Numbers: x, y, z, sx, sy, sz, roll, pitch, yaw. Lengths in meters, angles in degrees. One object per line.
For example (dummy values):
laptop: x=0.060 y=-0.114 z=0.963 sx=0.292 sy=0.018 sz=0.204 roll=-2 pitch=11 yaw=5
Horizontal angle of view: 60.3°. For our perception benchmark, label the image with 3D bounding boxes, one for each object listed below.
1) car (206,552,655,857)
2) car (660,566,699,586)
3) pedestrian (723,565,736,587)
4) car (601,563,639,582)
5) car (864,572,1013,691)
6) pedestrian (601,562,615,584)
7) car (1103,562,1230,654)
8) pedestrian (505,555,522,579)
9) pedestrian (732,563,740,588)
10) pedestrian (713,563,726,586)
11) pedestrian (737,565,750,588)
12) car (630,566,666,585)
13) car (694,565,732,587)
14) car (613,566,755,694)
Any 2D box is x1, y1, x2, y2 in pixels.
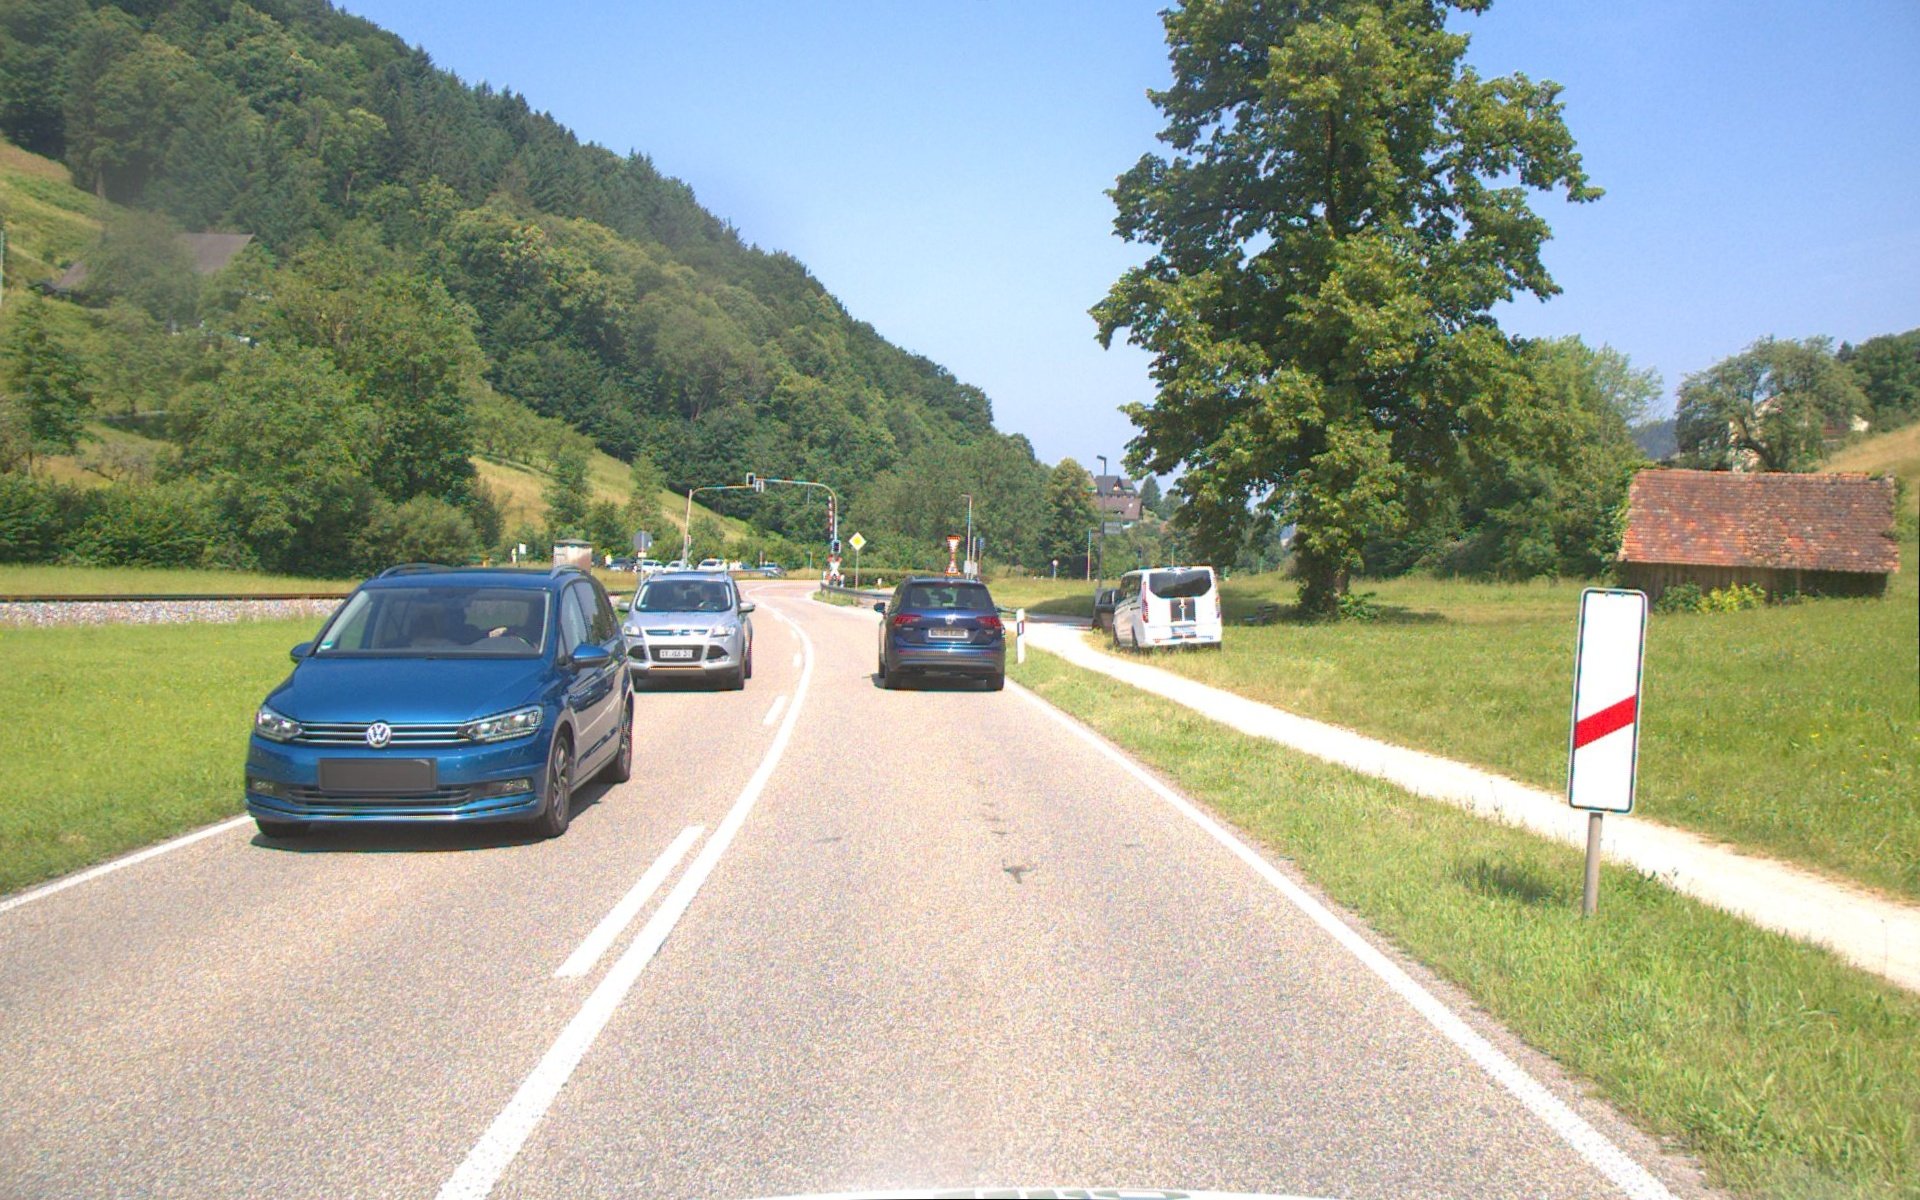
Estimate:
car: x=-3.310 y=0.553 z=11.317 sx=1.828 sy=1.652 sz=4.508 roll=1 pitch=1 yaw=-3
car: x=-23.989 y=-2.038 z=141.586 sx=1.951 sy=1.670 sz=4.905 roll=1 pitch=1 yaw=6
pedestrian: x=-18.789 y=-1.941 z=134.857 sx=0.755 sy=1.827 sz=0.792 roll=1 pitch=0 yaw=33
car: x=-29.074 y=-2.364 z=141.693 sx=1.952 sy=1.526 sz=4.524 roll=3 pitch=1 yaw=4
car: x=-0.421 y=0.428 z=25.586 sx=1.817 sy=1.678 sz=4.133 roll=1 pitch=1 yaw=-7
pedestrian: x=-28.797 y=-2.206 z=135.429 sx=0.934 sy=1.826 sz=1.000 roll=0 pitch=1 yaw=-1
car: x=4.726 y=0.132 z=38.594 sx=1.960 sy=1.880 sz=4.865 roll=-4 pitch=1 yaw=-4
pedestrian: x=-37.019 y=-2.725 z=137.093 sx=1.103 sy=2.004 sz=0.862 roll=1 pitch=0 yaw=22
pedestrian: x=-18.240 y=-1.976 z=134.702 sx=0.647 sy=1.989 sz=0.532 roll=1 pitch=0 yaw=-4
pedestrian: x=-19.487 y=-2.064 z=133.896 sx=0.771 sy=1.874 sz=0.699 roll=1 pitch=1 yaw=17
pedestrian: x=-17.692 y=-1.933 z=135.164 sx=0.637 sy=1.891 sz=0.767 roll=1 pitch=0 yaw=40
car: x=-26.638 y=-2.068 z=141.393 sx=1.951 sy=1.527 sz=4.524 roll=1 pitch=1 yaw=4
car: x=-21.163 y=-2.042 z=141.927 sx=1.831 sy=1.813 sz=4.776 roll=2 pitch=1 yaw=9
car: x=-4.047 y=0.383 z=24.813 sx=1.879 sy=1.744 sz=4.153 roll=1 pitch=1 yaw=-7
